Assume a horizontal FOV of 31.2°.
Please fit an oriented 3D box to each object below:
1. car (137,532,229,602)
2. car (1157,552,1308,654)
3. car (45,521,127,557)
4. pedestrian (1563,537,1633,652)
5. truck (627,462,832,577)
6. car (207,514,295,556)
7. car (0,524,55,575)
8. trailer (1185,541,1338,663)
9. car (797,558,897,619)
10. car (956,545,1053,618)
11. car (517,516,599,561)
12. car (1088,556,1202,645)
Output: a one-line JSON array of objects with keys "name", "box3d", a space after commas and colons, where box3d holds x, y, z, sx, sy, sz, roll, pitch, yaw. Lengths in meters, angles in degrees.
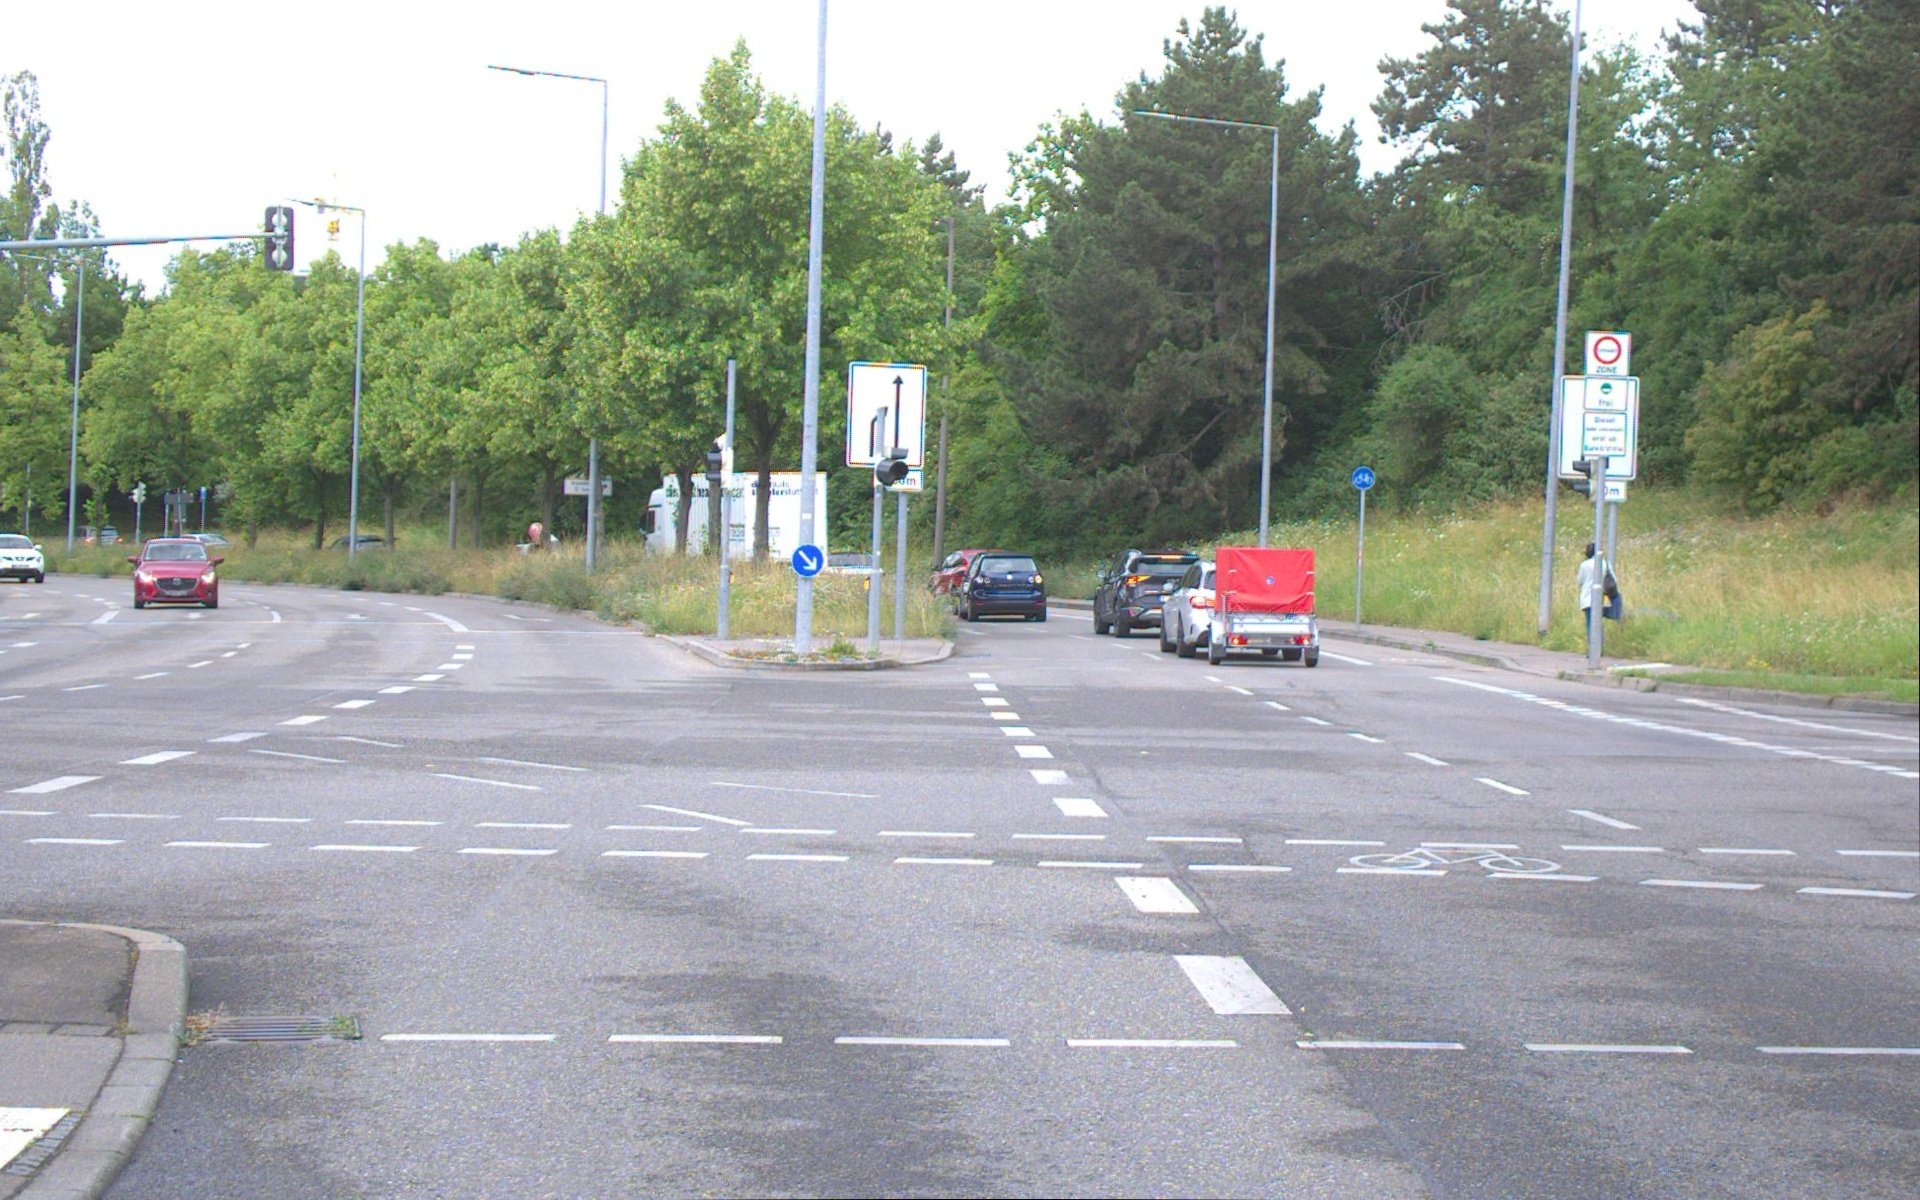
[{"name": "car", "box3d": [-16.428, -0.717, 72.541, 1.780, 1.438, 4.427, 0, 1, -14]}, {"name": "car", "box3d": [4.057, 0.016, 51.821, 1.778, 1.416, 4.459, 1, 1, -2]}, {"name": "car", "box3d": [-38.704, -2.704, 152.196, 1.779, 1.541, 4.022, 0, 2, -44]}, {"name": "pedestrian", "box3d": [9.126, -0.081, 49.208, 0.814, 1.622, 0.791, 1, 1, -1]}, {"name": "truck", "box3d": [-7.227, -2.480, 105.711, 2.739, 3.317, 11.410, 0, 1, -22]}, {"name": "car", "box3d": [-28.967, -2.655, 140.381, 1.994, 1.678, 3.999, 0, 1, -36]}, {"name": "car", "box3d": [-30.634, -1.661, 111.626, 1.828, 1.623, 4.427, 0, 1, -23]}, {"name": "trailer", "box3d": [4.177, 0.001, 48.068, 1.764, 1.610, 3.044, 1, 1, -2]}, {"name": "car", "box3d": [-3.043, -0.324, 91.764, 1.777, 1.541, 4.026, 0, 1, -15]}, {"name": "car", "box3d": [0.975, -0.437, 77.608, 1.777, 1.541, 4.026, 1, 1, -5]}, {"name": "car", "box3d": [-14.165, -2.183, 120.934, 1.777, 1.541, 4.026, 0, 1, -24]}, {"name": "car", "box3d": [3.429, -0.014, 64.255, 1.778, 1.541, 4.025, 1, 1, -2]}]
